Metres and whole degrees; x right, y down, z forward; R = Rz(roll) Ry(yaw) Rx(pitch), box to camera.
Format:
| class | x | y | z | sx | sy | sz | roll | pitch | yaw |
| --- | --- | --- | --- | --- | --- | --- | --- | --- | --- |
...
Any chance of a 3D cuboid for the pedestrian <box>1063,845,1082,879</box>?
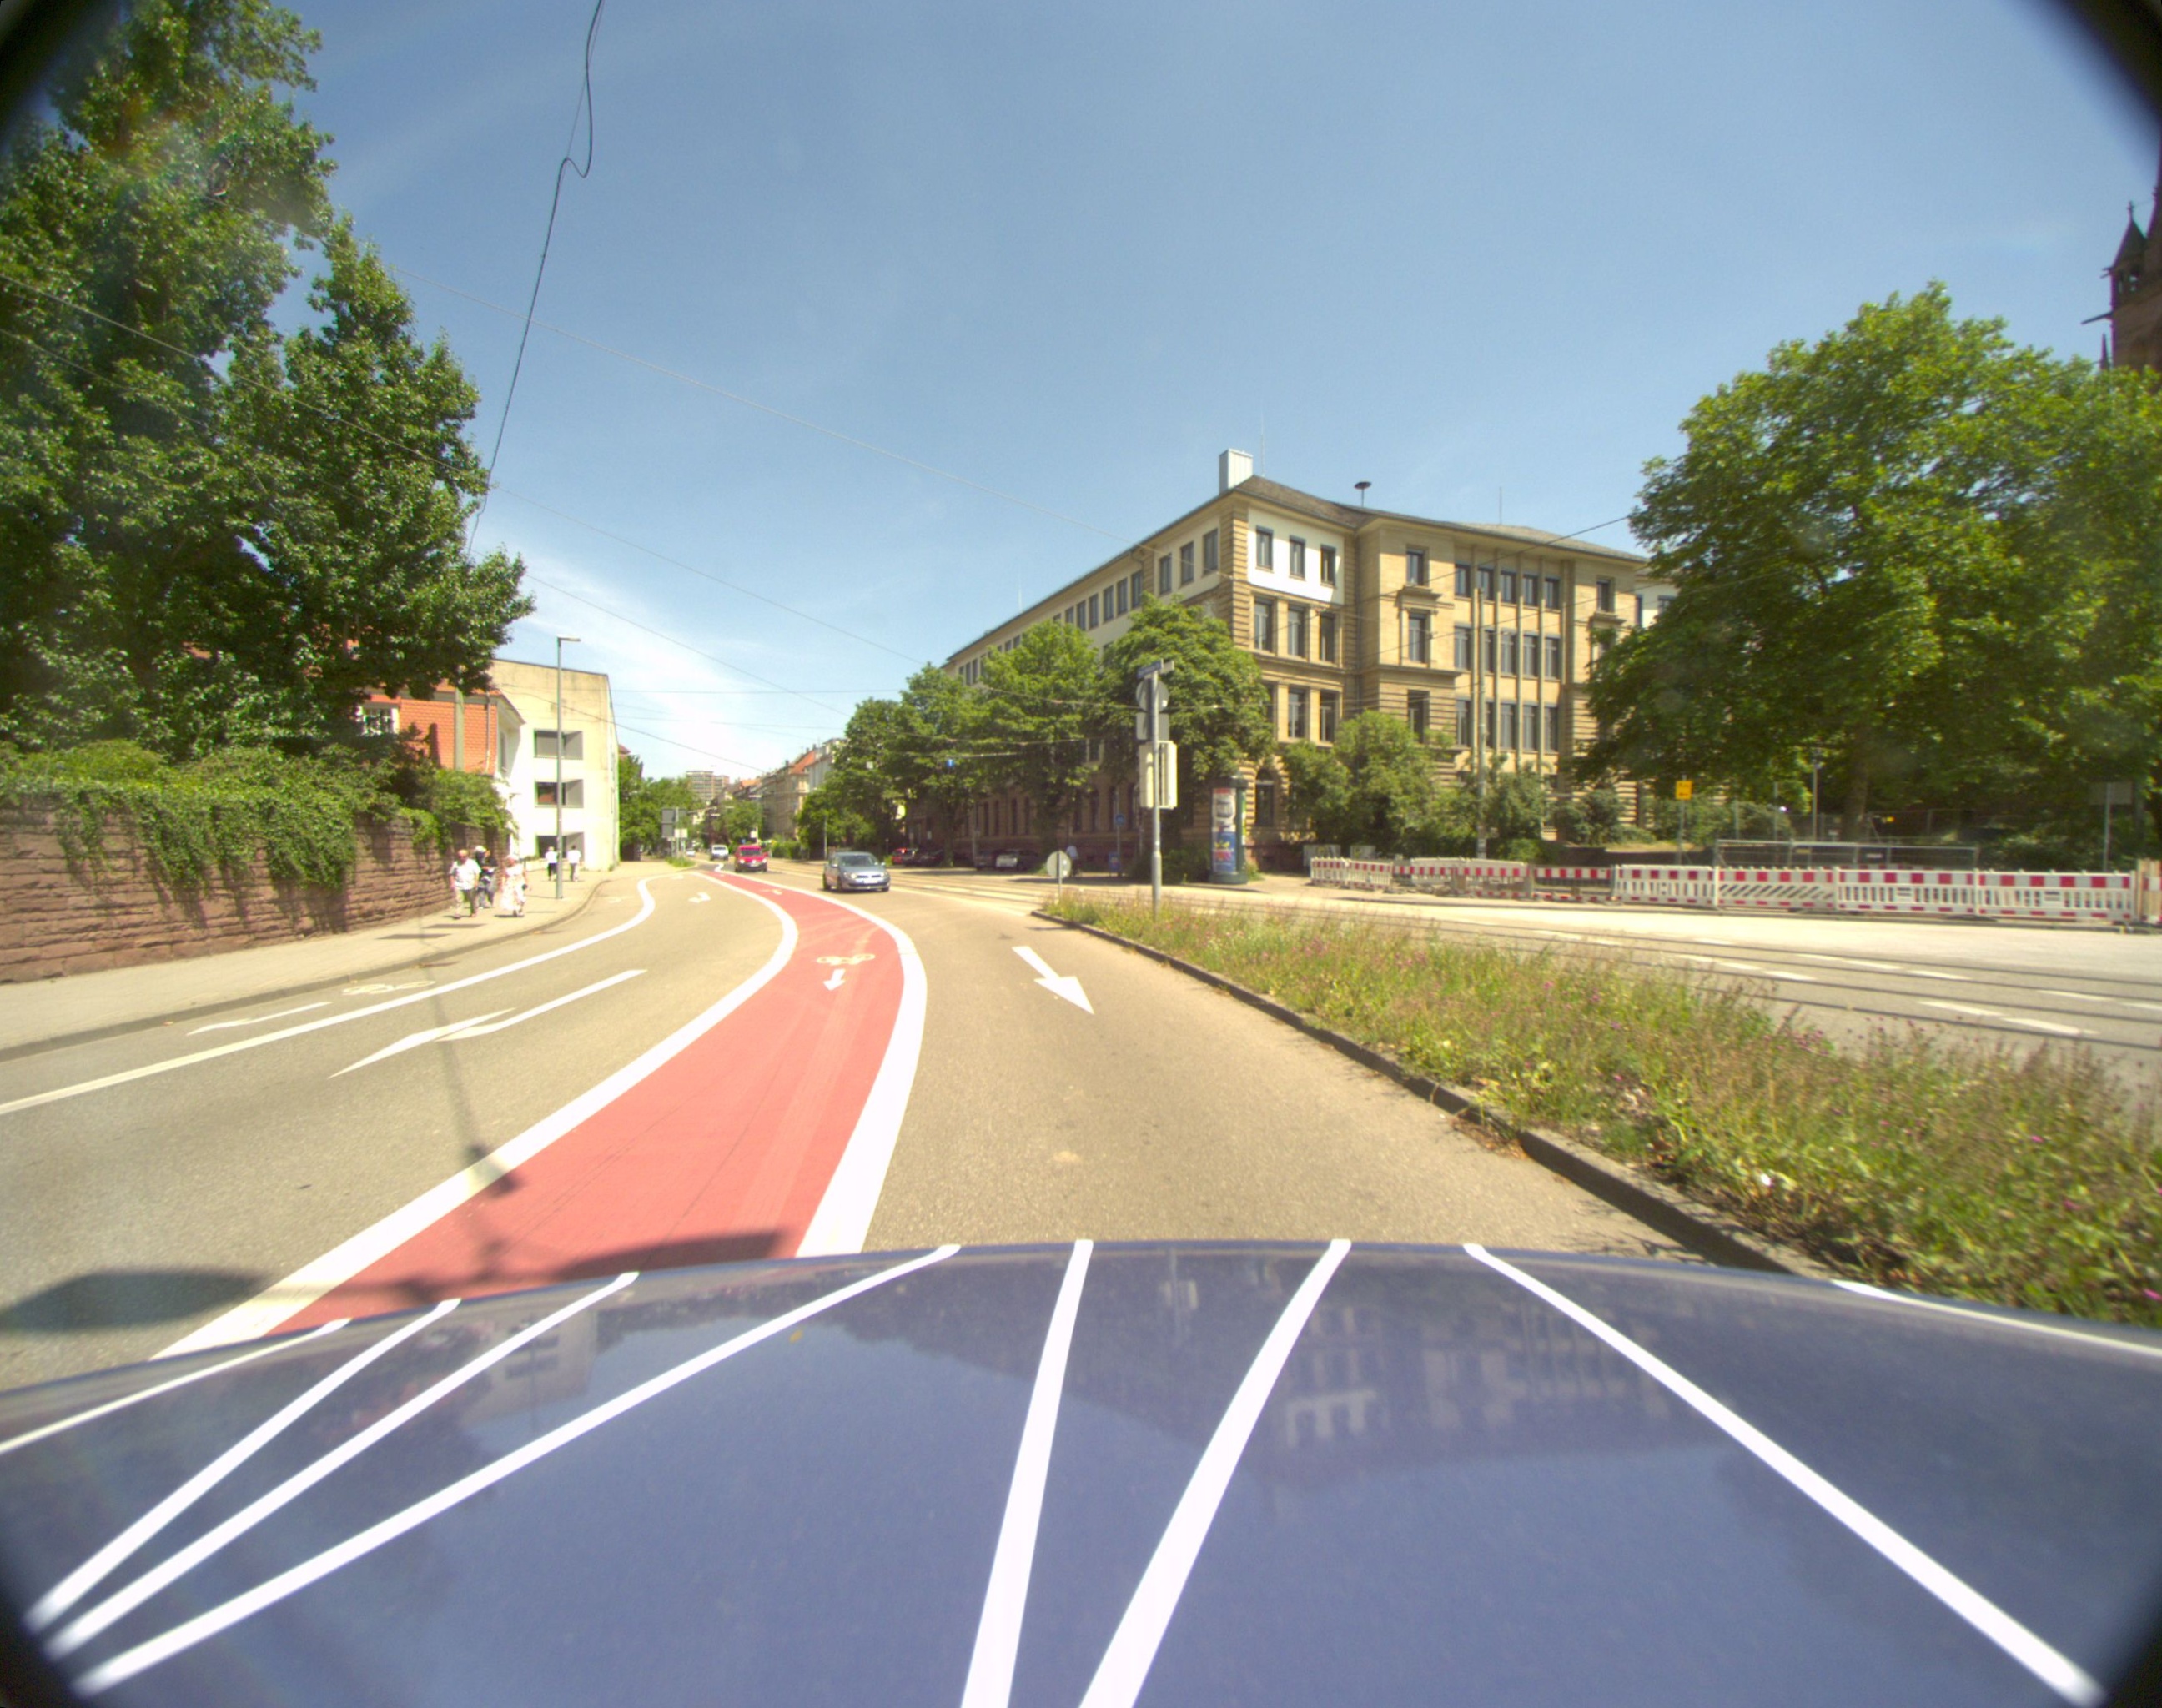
| class | x | y | z | sx | sy | sz | roll | pitch | yaw |
| --- | --- | --- | --- | --- | --- | --- | --- | --- | --- |
| pedestrian | -0.408 | 0.367 | 37.532 | 0.725 | 1.661 | 0.643 | -1 | 1 | -25 |

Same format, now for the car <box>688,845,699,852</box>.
| class | x | y | z | sx | sy | sz | roll | pitch | yaw |
| --- | --- | --- | --- | --- | --- | --- | --- | --- | --- |
| car | -70.937 | -1.016 | 139.105 | 1.429 | 1.317 | 2.980 | -3 | 1 | -31 |

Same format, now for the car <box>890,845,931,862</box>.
| class | x | y | z | sx | sy | sz | roll | pitch | yaw |
| --- | --- | --- | --- | --- | --- | --- | --- | --- | --- |
| car | -15.634 | -0.056 | 69.924 | 1.611 | 1.444 | 3.585 | -2 | 1 | 32 |

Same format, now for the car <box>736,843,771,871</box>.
| class | x | y | z | sx | sy | sz | roll | pitch | yaw |
| --- | --- | --- | --- | --- | --- | --- | --- | --- | --- |
| car | -22.198 | 0.192 | 51.445 | 1.836 | 1.756 | 4.270 | -3 | 1 | -27 |

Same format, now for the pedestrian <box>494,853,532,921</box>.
| class | x | y | z | sx | sy | sz | roll | pitch | yaw |
| --- | --- | --- | --- | --- | --- | --- | --- | --- | --- |
| pedestrian | -13.760 | 0.798 | 18.410 | 0.606 | 1.601 | 0.557 | 2 | -1 | -27 |

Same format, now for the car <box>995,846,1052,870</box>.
| class | x | y | z | sx | sy | sz | roll | pitch | yaw |
| --- | --- | --- | --- | --- | --- | --- | --- | --- | --- |
| car | -3.762 | 0.268 | 50.263 | 1.567 | 1.412 | 3.559 | -1 | 1 | 43 |

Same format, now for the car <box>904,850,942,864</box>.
| class | x | y | z | sx | sy | sz | roll | pitch | yaw |
| --- | --- | --- | --- | --- | --- | --- | --- | --- | --- |
| car | -13.791 | 0.262 | 66.413 | 1.277 | 1.092 | 2.995 | -1 | 1 | 42 |

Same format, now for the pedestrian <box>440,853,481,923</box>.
| class | x | y | z | sx | sy | sz | roll | pitch | yaw |
| --- | --- | --- | --- | --- | --- | --- | --- | --- | --- |
| pedestrian | -14.564 | 0.789 | 17.845 | 0.606 | 1.601 | 0.557 | 2 | -1 | -27 |

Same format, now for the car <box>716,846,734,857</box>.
| class | x | y | z | sx | sy | sz | roll | pitch | yaw |
| --- | --- | --- | --- | --- | --- | --- | --- | --- | --- |
| car | -44.269 | -0.347 | 94.408 | 1.836 | 1.384 | 4.269 | -1 | 1 | -27 |

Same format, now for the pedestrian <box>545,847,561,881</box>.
| class | x | y | z | sx | sy | sz | roll | pitch | yaw |
| --- | --- | --- | --- | --- | --- | --- | --- | --- | --- |
| pedestrian | -25.019 | 0.479 | 36.010 | 0.490 | 1.596 | 0.557 | 2 | -1 | -28 |

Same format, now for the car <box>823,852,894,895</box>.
| class | x | y | z | sx | sy | sz | roll | pitch | yaw |
| --- | --- | --- | --- | --- | --- | --- | --- | --- | --- |
| car | -8.316 | 0.654 | 28.182 | 1.836 | 1.406 | 3.985 | -2 | 1 | -26 |

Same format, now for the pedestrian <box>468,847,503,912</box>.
| class | x | y | z | sx | sy | sz | roll | pitch | yaw |
| --- | --- | --- | --- | --- | --- | --- | --- | --- | --- |
| pedestrian | -16.087 | 0.686 | 20.533 | 0.606 | 1.702 | 0.557 | 2 | -1 | -28 |

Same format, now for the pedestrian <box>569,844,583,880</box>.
| class | x | y | z | sx | sy | sz | roll | pitch | yaw |
| --- | --- | --- | --- | --- | --- | --- | --- | --- | --- |
| pedestrian | -24.135 | 0.377 | 36.319 | 0.490 | 1.702 | 0.520 | 2 | -1 | -28 |

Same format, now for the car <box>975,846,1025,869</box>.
| class | x | y | z | sx | sy | sz | roll | pitch | yaw |
| --- | --- | --- | --- | --- | --- | --- | --- | --- | --- |
| car | -5.571 | 0.215 | 52.377 | 1.567 | 1.454 | 3.156 | -1 | 1 | 42 |

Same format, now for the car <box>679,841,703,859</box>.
| class | x | y | z | sx | sy | sz | roll | pitch | yaw |
| --- | --- | --- | --- | --- | --- | --- | --- | --- | --- |
| car | -37.723 | -0.384 | 73.436 | 1.821 | 1.698 | 3.990 | -1 | 1 | -30 |
